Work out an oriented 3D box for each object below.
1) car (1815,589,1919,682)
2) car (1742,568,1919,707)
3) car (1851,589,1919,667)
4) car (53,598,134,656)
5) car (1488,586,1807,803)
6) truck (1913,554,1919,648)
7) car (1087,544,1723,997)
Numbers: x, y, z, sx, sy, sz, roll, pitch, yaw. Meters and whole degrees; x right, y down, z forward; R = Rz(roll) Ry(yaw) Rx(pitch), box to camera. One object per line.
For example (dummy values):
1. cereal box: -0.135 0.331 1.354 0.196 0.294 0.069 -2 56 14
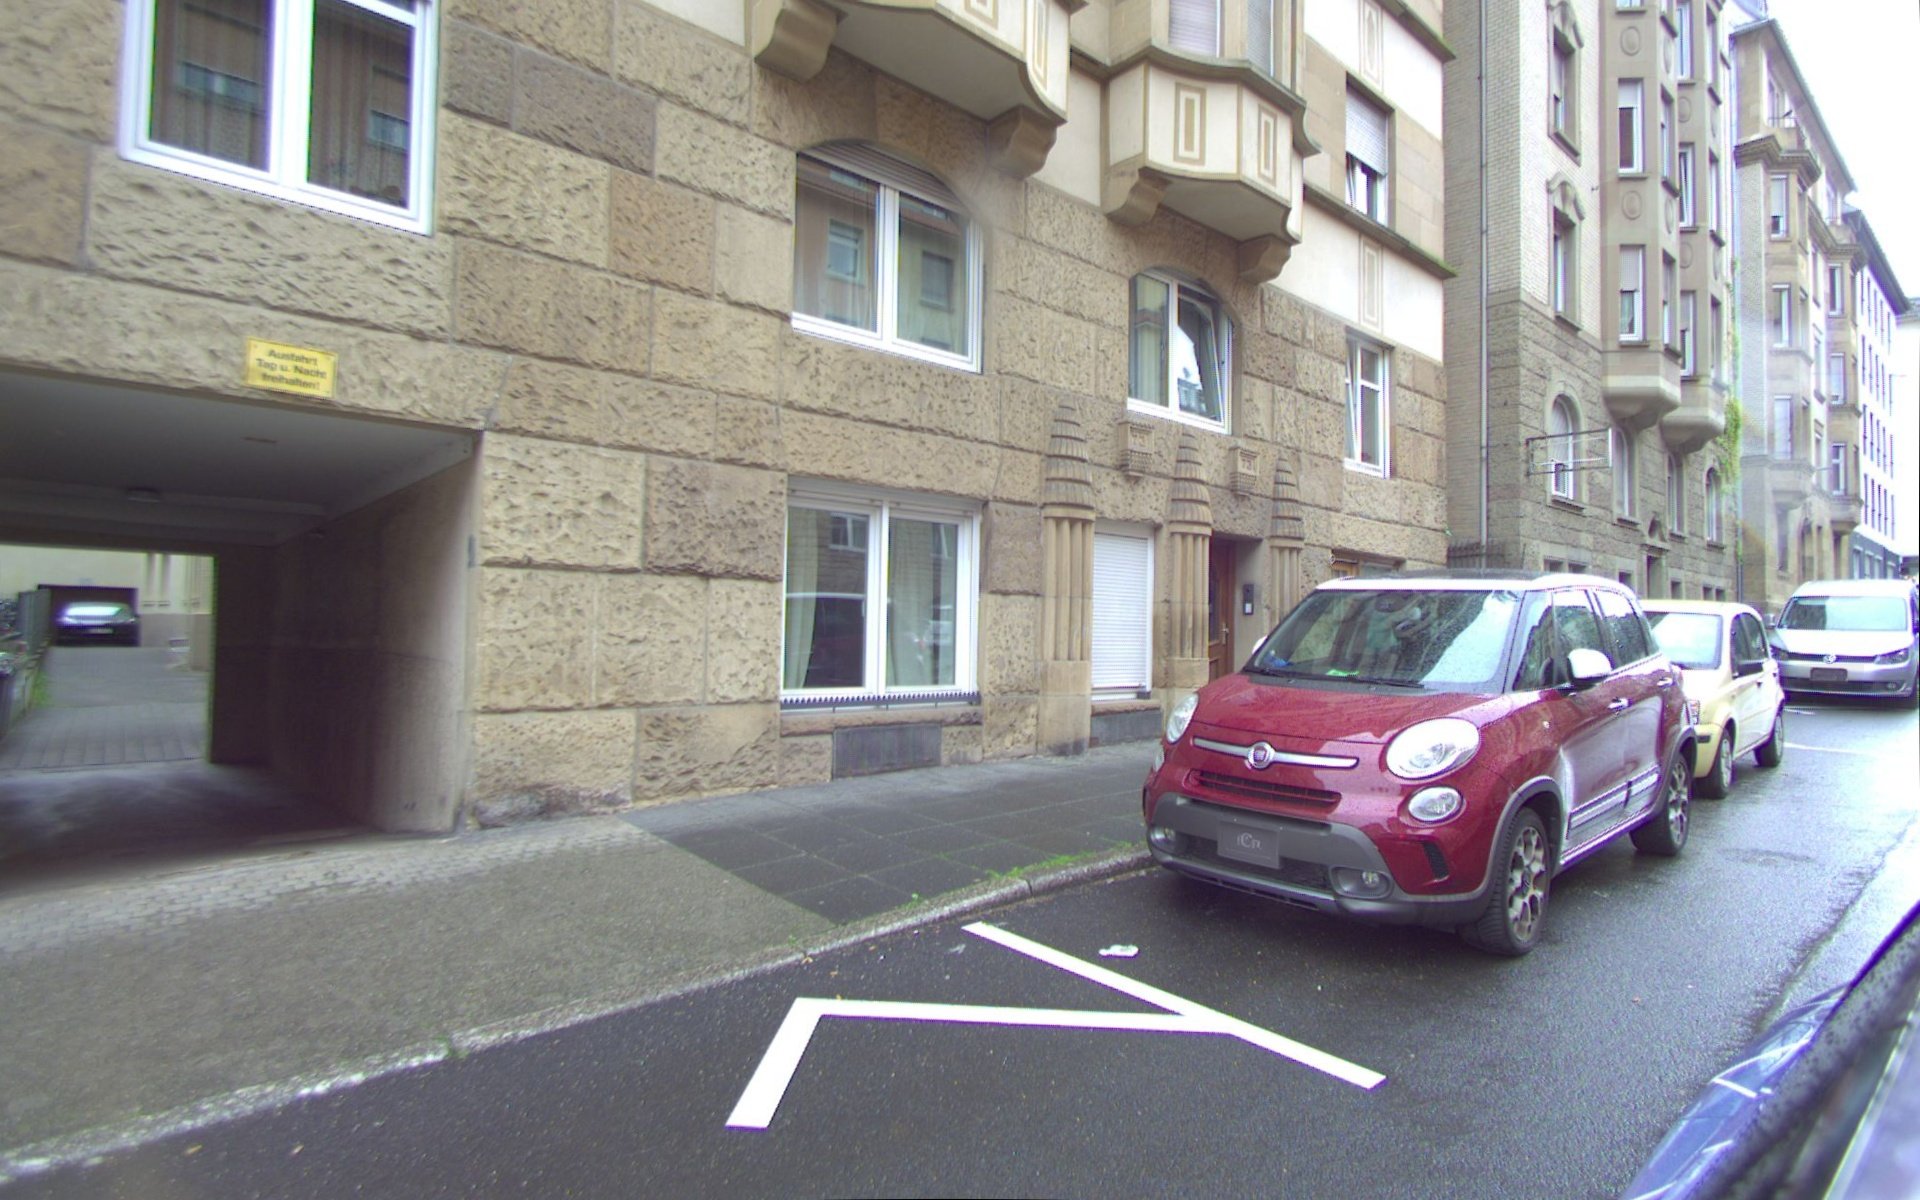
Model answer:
1. car: 17.172 0.600 18.500 3.934 1.549 1.994 0 -1 -45
2. car: 13.764 0.500 15.509 4.380 1.825 1.966 0 -1 -41
3. car: 20.478 0.547 21.440 3.860 1.549 1.889 0 -1 -41
4. car: -25.184 0.745 29.456 1.692 1.541 4.098 0 -1 -41
5. car: 6.200 0.676 8.992 3.517 1.549 1.578 0 -1 -43
6. truck: 29.164 0.022 28.879 6.036 2.568 2.234 0 -1 -41
7. car: 2.679 0.612 5.630 3.932 1.619 1.804 0 -1 -42
